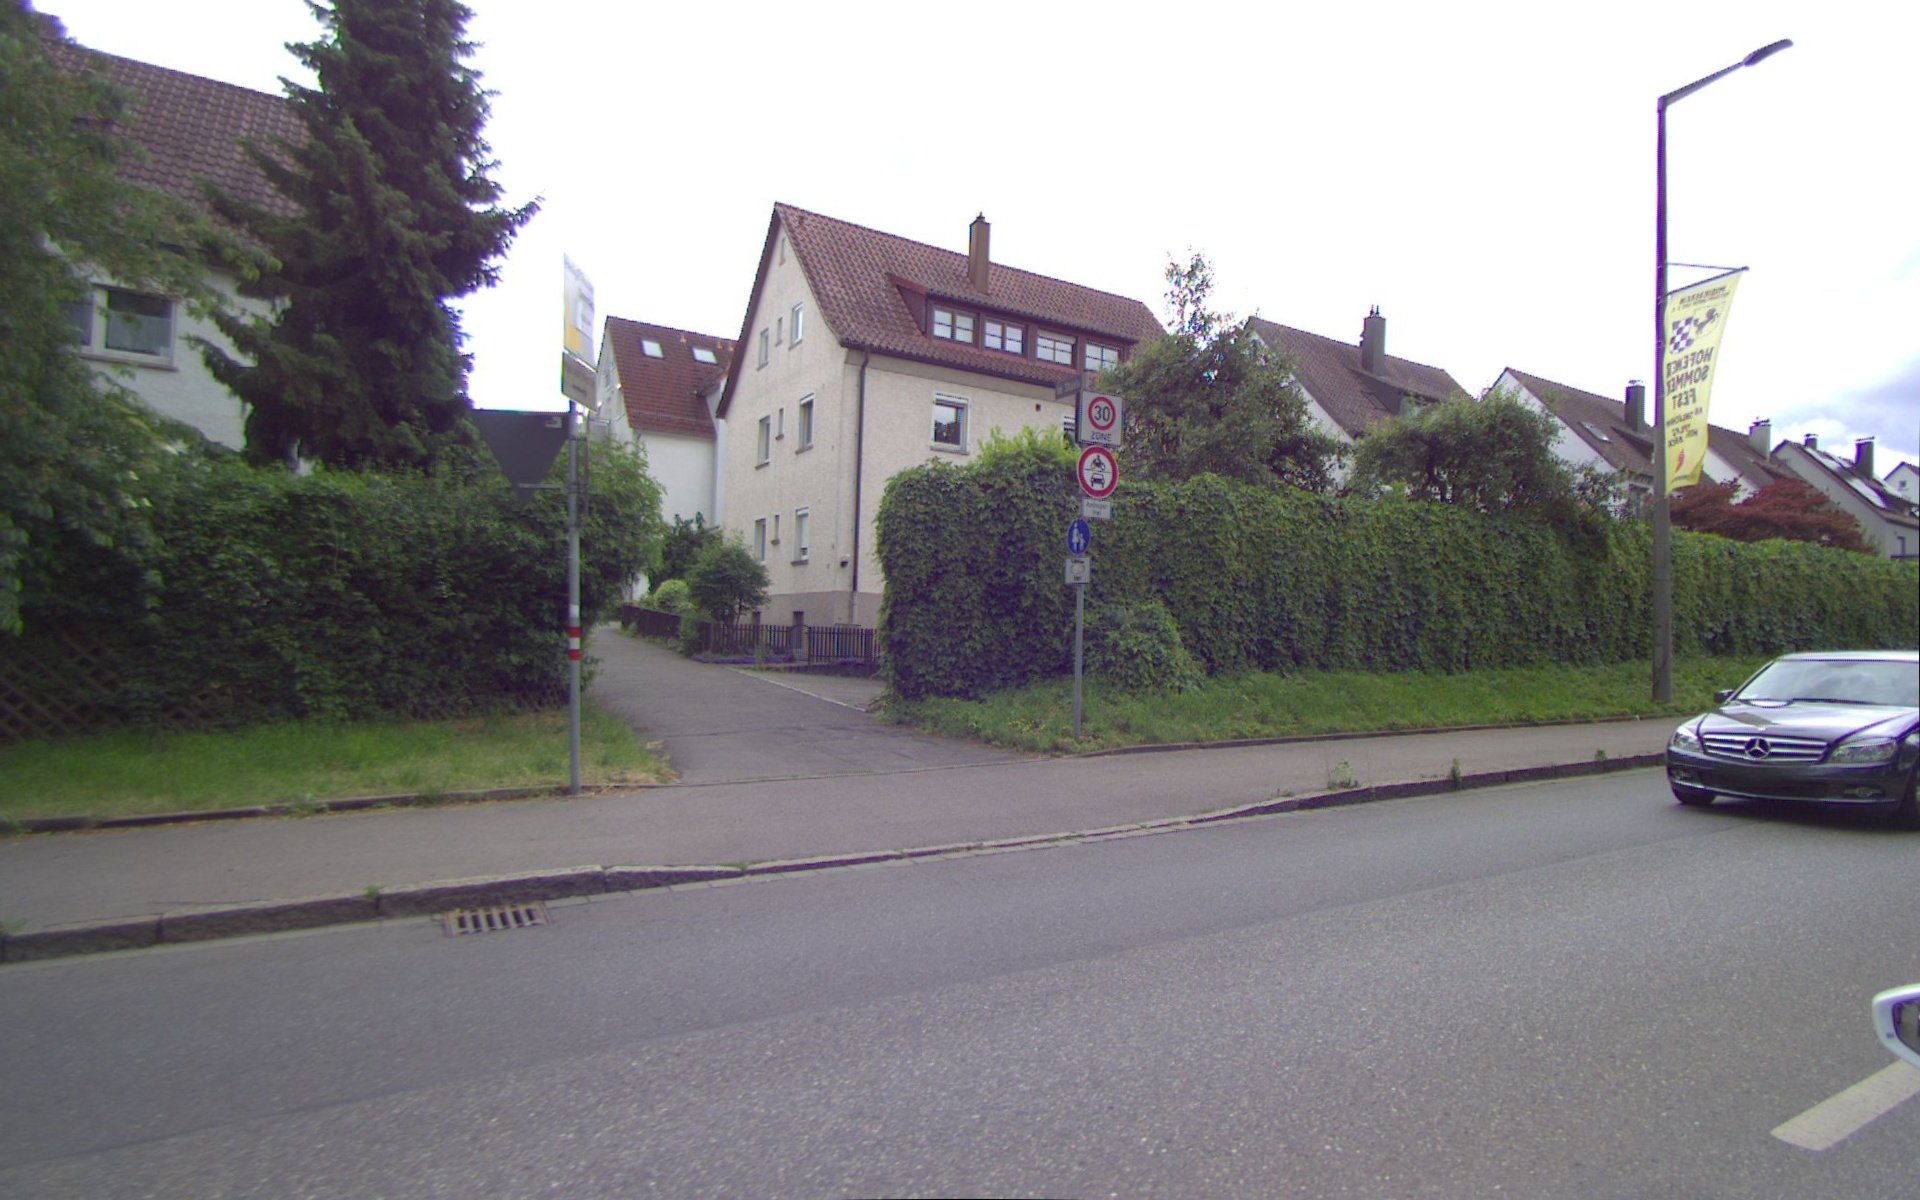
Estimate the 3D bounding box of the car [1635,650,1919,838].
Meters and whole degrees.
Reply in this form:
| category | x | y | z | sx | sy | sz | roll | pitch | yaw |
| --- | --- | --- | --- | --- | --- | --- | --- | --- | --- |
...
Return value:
| category | x | y | z | sx | sy | sz | roll | pitch | yaw |
| --- | --- | --- | --- | --- | --- | --- | --- | --- | --- |
| car | 8.312 | 1.170 | 9.383 | 4.191 | 1.393 | 1.724 | 2 | -3 | -31 |
